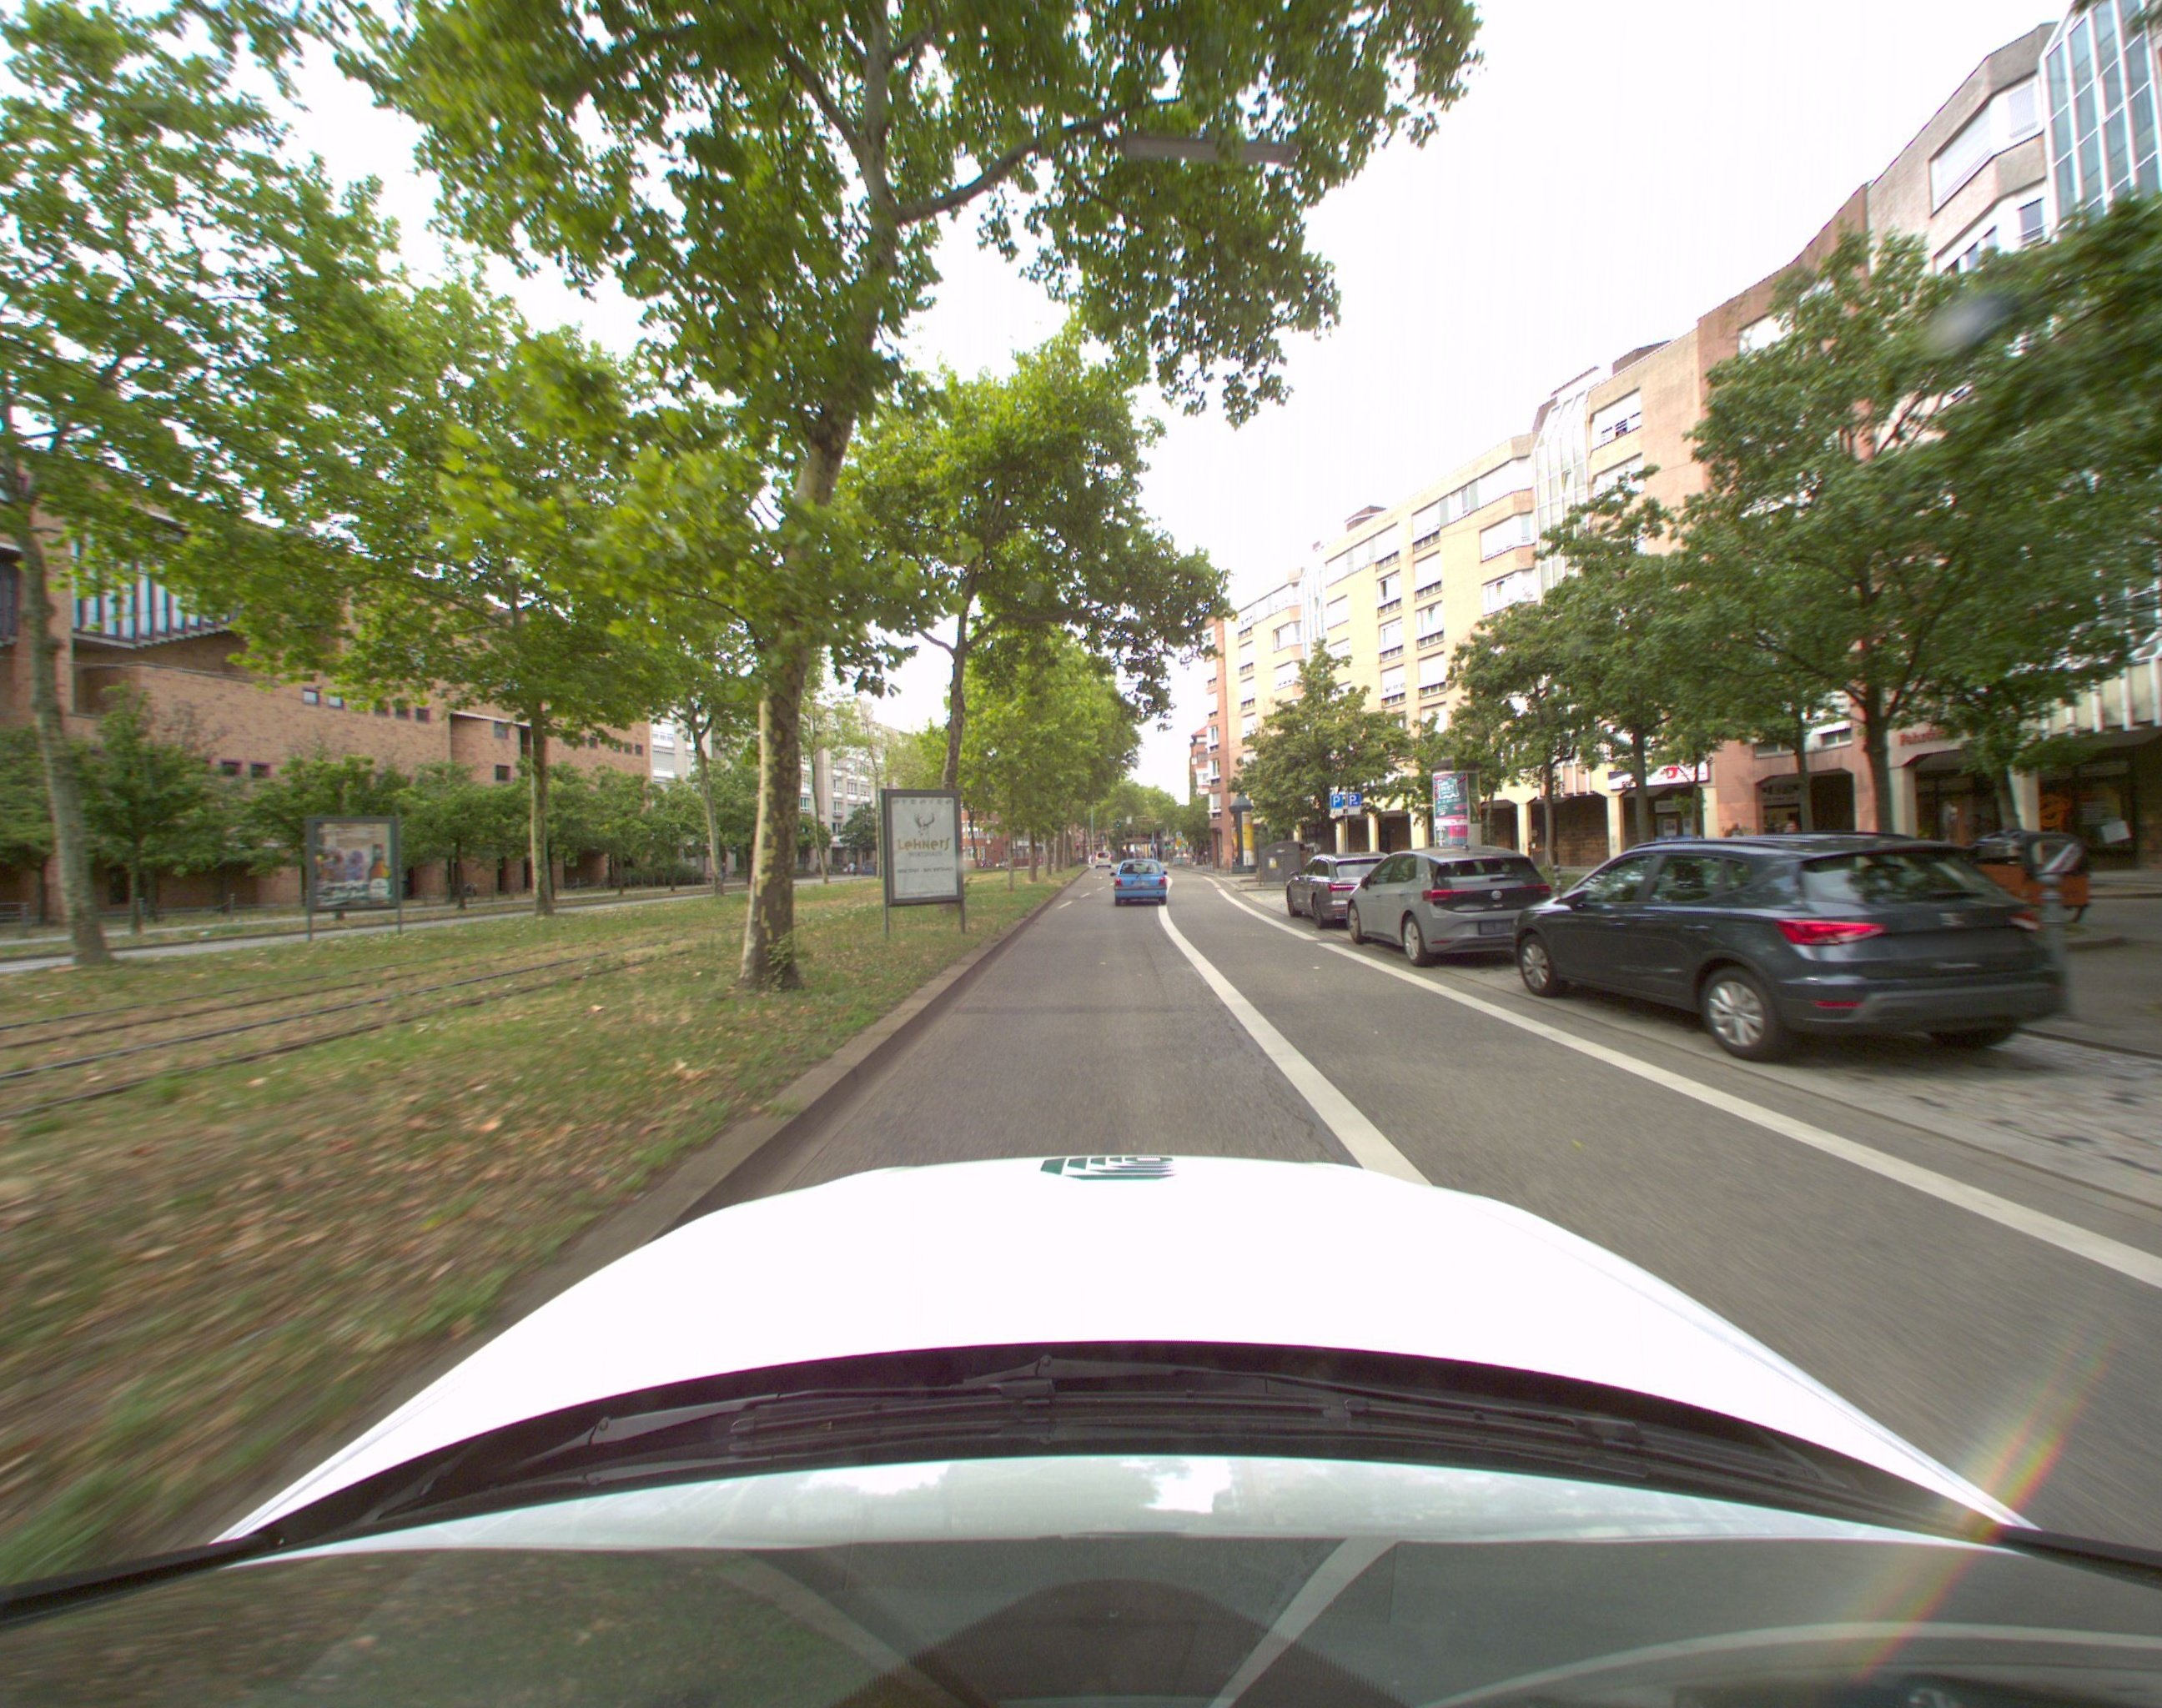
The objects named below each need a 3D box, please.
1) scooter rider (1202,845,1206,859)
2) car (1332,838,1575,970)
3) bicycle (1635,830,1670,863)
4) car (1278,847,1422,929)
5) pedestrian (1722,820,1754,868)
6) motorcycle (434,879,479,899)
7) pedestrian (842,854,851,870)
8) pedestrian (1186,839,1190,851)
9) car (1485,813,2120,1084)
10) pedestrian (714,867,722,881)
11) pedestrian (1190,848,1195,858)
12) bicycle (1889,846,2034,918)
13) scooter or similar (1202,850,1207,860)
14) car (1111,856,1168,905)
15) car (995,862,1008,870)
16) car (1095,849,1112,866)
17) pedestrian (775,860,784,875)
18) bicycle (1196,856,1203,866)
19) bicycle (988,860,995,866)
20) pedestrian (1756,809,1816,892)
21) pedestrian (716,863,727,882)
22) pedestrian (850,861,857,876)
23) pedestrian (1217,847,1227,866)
[{"bbox_3d":[15.021,-0.263,99.319,0.460,1.720,0.554,-2,-1,7],"label":"scooter rider"},{"bbox_3d":[5.227,0.604,12.144,1.733,1.519,4.404,-3,0,3],"label":"car"},{"bbox_3d":[20.493,-0.278,29.186,1.975,1.112,0.590,-2,-1,-43],"label":"bicycle"},{"bbox_3d":[5.586,0.640,17.553,1.808,1.442,4.671,-3,0,4],"label":"car"},{"bbox_3d":[23.075,-0.348,28.602,0.529,1.662,0.854,-2,0,14],"label":"pedestrian"},{"bbox_3d":[-41.276,2.323,53.882,2.198,1.191,0.791,-2,0,-22],"label":"motorcycle"},{"bbox_3d":[-26.317,0.915,91.452,0.549,1.705,0.886,-2,0,6],"label":"pedestrian"},{"bbox_3d":[14.213,-1.211,107.856,0.514,1.616,0.852,-2,-1,7],"label":"pedestrian"},{"bbox_3d":[5.376,0.567,6.996,1.709,1.519,4.204,-4,0,1],"label":"car"},{"bbox_3d":[-34.659,1.882,77.702,0.454,1.323,0.556,-2,0,13],"label":"pedestrian"},{"bbox_3d":[17.180,-0.210,125.158,0.671,1.538,0.949,-2,-1,9],"label":"pedestrian"},{"bbox_3d":[13.470,0.393,12.538,0.482,1.013,1.867,-2,0,11],"label":"bicycle"},{"bbox_3d":[14.999,0.117,99.035,0.471,1.206,1.333,-2,-1,8],"label":"scooter or similar"},{"bbox_3d":[1.804,0.792,25.856,1.634,1.386,3.845,-1,0,2],"label":"car"},{"bbox_3d":[-14.363,2.166,146.591,1.723,1.245,4.536,-2,0,1],"label":"car"},{"bbox_3d":[2.680,0.419,96.524,1.924,1.925,4.958,-2,0,2],"label":"car"},{"bbox_3d":[-34.205,1.581,92.415,0.632,1.672,0.661,-2,-1,11],"label":"pedestrian"},{"bbox_3d":[13.258,0.787,91.071,0.609,1.118,1.809,-2,0,9],"label":"bicycle"},{"bbox_3d":[-16.402,1.702,149.127,0.686,1.092,1.884,-2,0,14],"label":"bicycle"},{"bbox_3d":[13.932,-0.072,16.103,0.601,1.586,0.683,-2,0,11],"label":"pedestrian"},{"bbox_3d":[-31.711,1.641,71.854,0.549,1.705,0.627,-2,0,6],"label":"pedestrian"},{"bbox_3d":[-25.609,1.602,91.568,0.549,1.705,0.627,-2,0,6],"label":"pedestrian"},{"bbox_3d":[11.929,0.205,68.970,0.538,1.650,0.830,-2,-1,33],"label":"pedestrian"}]
